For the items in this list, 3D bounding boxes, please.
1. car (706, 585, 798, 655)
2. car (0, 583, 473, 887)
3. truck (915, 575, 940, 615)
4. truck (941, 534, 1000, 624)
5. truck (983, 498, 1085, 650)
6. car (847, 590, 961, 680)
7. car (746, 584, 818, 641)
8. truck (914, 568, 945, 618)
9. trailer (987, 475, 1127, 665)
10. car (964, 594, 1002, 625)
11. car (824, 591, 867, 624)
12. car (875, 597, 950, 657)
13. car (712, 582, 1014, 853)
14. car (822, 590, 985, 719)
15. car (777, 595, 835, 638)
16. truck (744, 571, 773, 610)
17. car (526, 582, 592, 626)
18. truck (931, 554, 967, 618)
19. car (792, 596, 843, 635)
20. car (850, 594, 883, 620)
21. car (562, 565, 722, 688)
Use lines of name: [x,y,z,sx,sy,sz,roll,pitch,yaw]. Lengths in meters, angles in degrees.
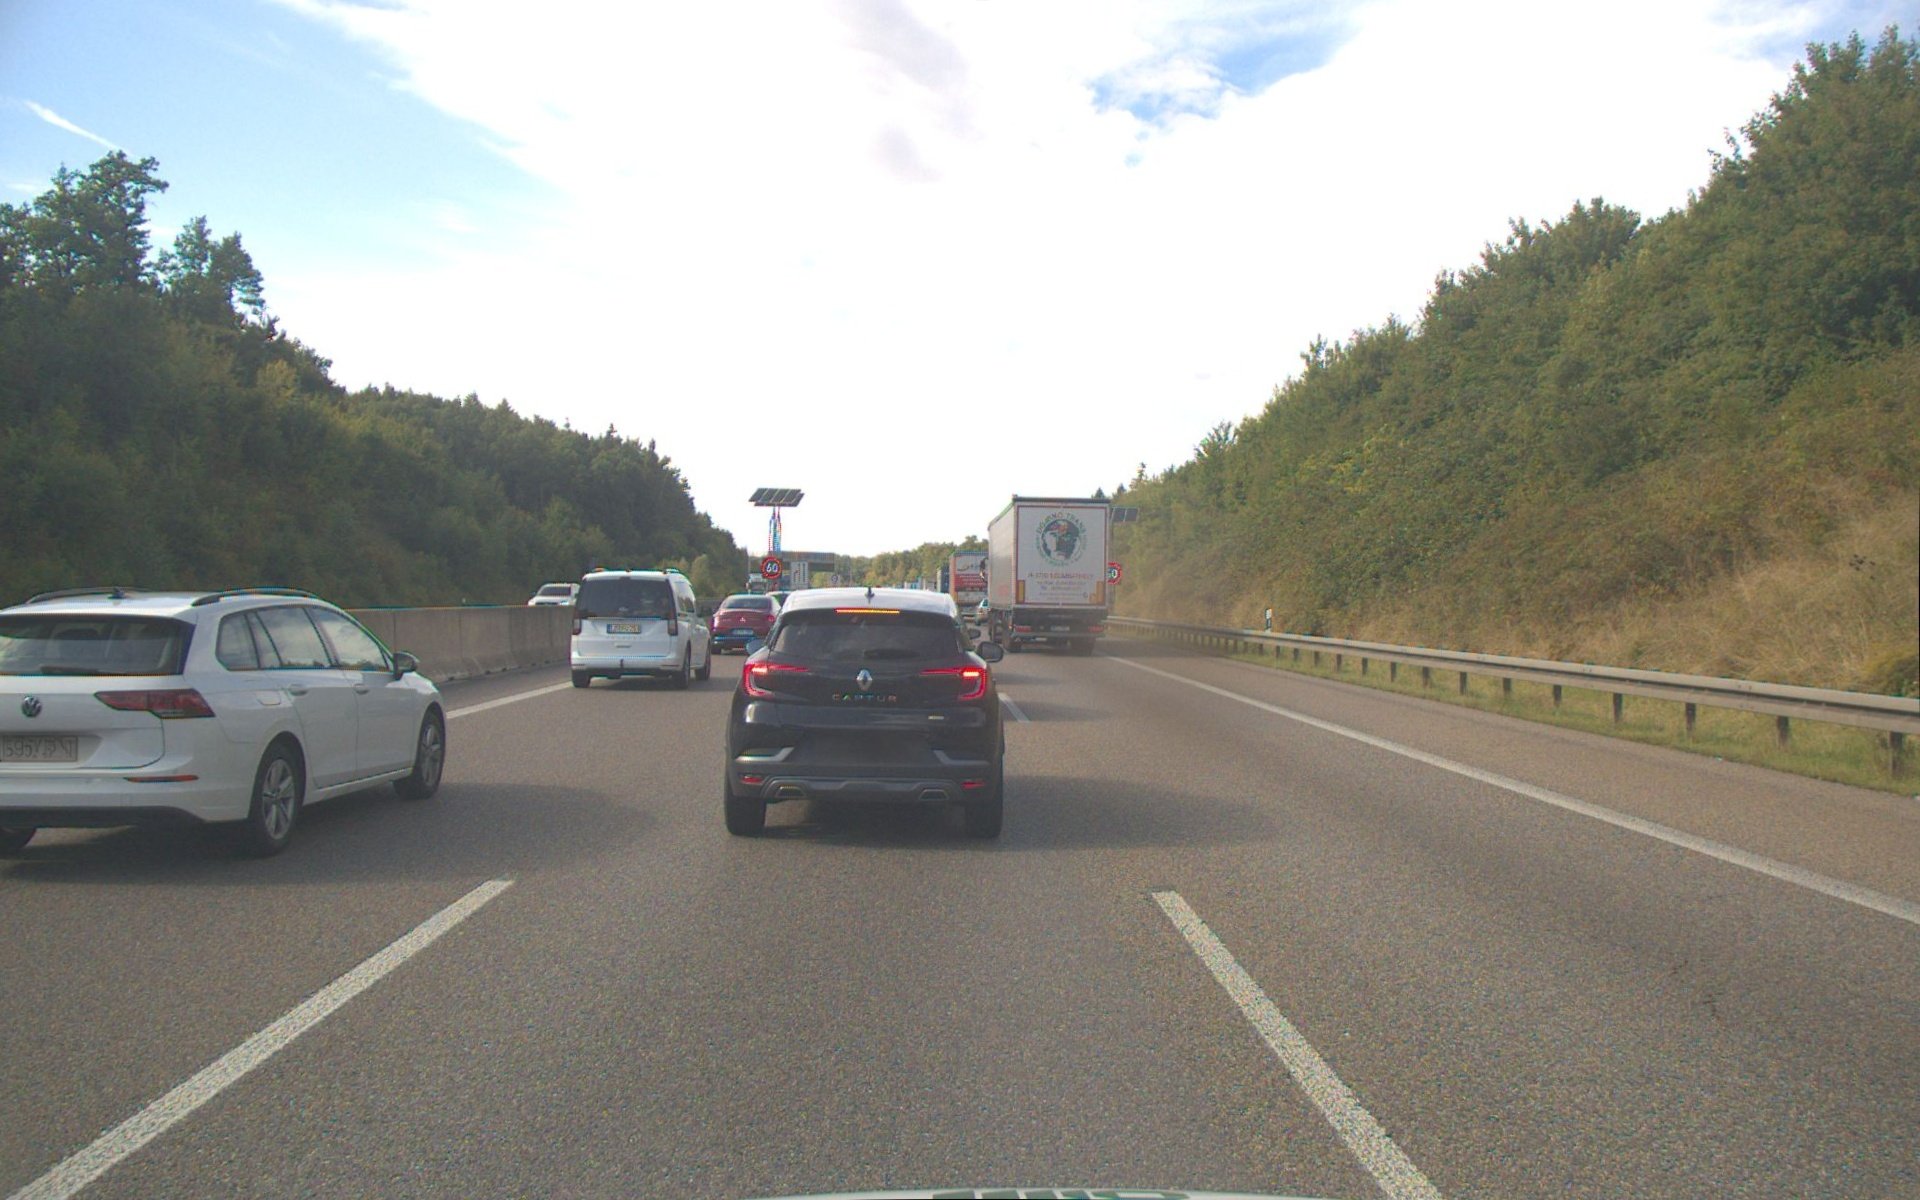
car: [-5.222,0.488,41.896,1.818,1.669,3.925,1,0,0]
car: [-4.557,0.671,10.282,1.768,1.486,4.308,0,0,0]
truck: [-4.454,-0.620,228.743,3.102,5.250,12.735,1,0,0]
truck: [0.581,-1.173,101.248,3.296,5.132,12.735,1,0,0]
truck: [2.372,-0.821,55.121,2.936,4.749,5.937,0,0,-2]
car: [-0.998,0.624,30.704,1.953,1.540,3.999,1,0,-1]
car: [-5.798,0.408,54.394,1.953,1.752,3.999,1,0,-1]
truck: [-3.554,-0.769,194.030,3.101,5.601,12.738,1,0,1]
trailer: [2.544,-0.781,48.143,2.941,4.742,13.286,1,0,-1]
car: [1.161,0.486,86.049,1.768,1.559,3.924,1,0,-2]
car: [-5.859,0.380,85.158,1.953,1.641,3.999,1,0,-1]
car: [-1.260,0.714,45.065,1.953,1.540,3.999,1,0,-1]
car: [-0.528,0.693,11.703,1.767,1.579,4.000,0,0,1]
car: [-0.708,0.675,22.018,1.953,1.540,3.999,1,0,-1]
car: [-6.106,0.638,65.951,1.953,1.641,3.999,1,0,-1]
truck: [-27.407,-1.272,225.157,2.832,5.182,10.077,1,0,-1]
car: [-17.760,0.164,73.478,1.814,1.841,4.923,1,0,-1]
truck: [-0.994,-1.183,152.679,3.102,5.601,12.735,1,0,0]
car: [-6.288,0.685,73.482,1.953,1.641,3.999,1,0,-1]
car: [-6.074,0.430,107.927,1.953,1.641,3.999,1,0,-1]
car: [-5.087,0.414,26.994,1.873,1.821,4.415,1,0,-2]
